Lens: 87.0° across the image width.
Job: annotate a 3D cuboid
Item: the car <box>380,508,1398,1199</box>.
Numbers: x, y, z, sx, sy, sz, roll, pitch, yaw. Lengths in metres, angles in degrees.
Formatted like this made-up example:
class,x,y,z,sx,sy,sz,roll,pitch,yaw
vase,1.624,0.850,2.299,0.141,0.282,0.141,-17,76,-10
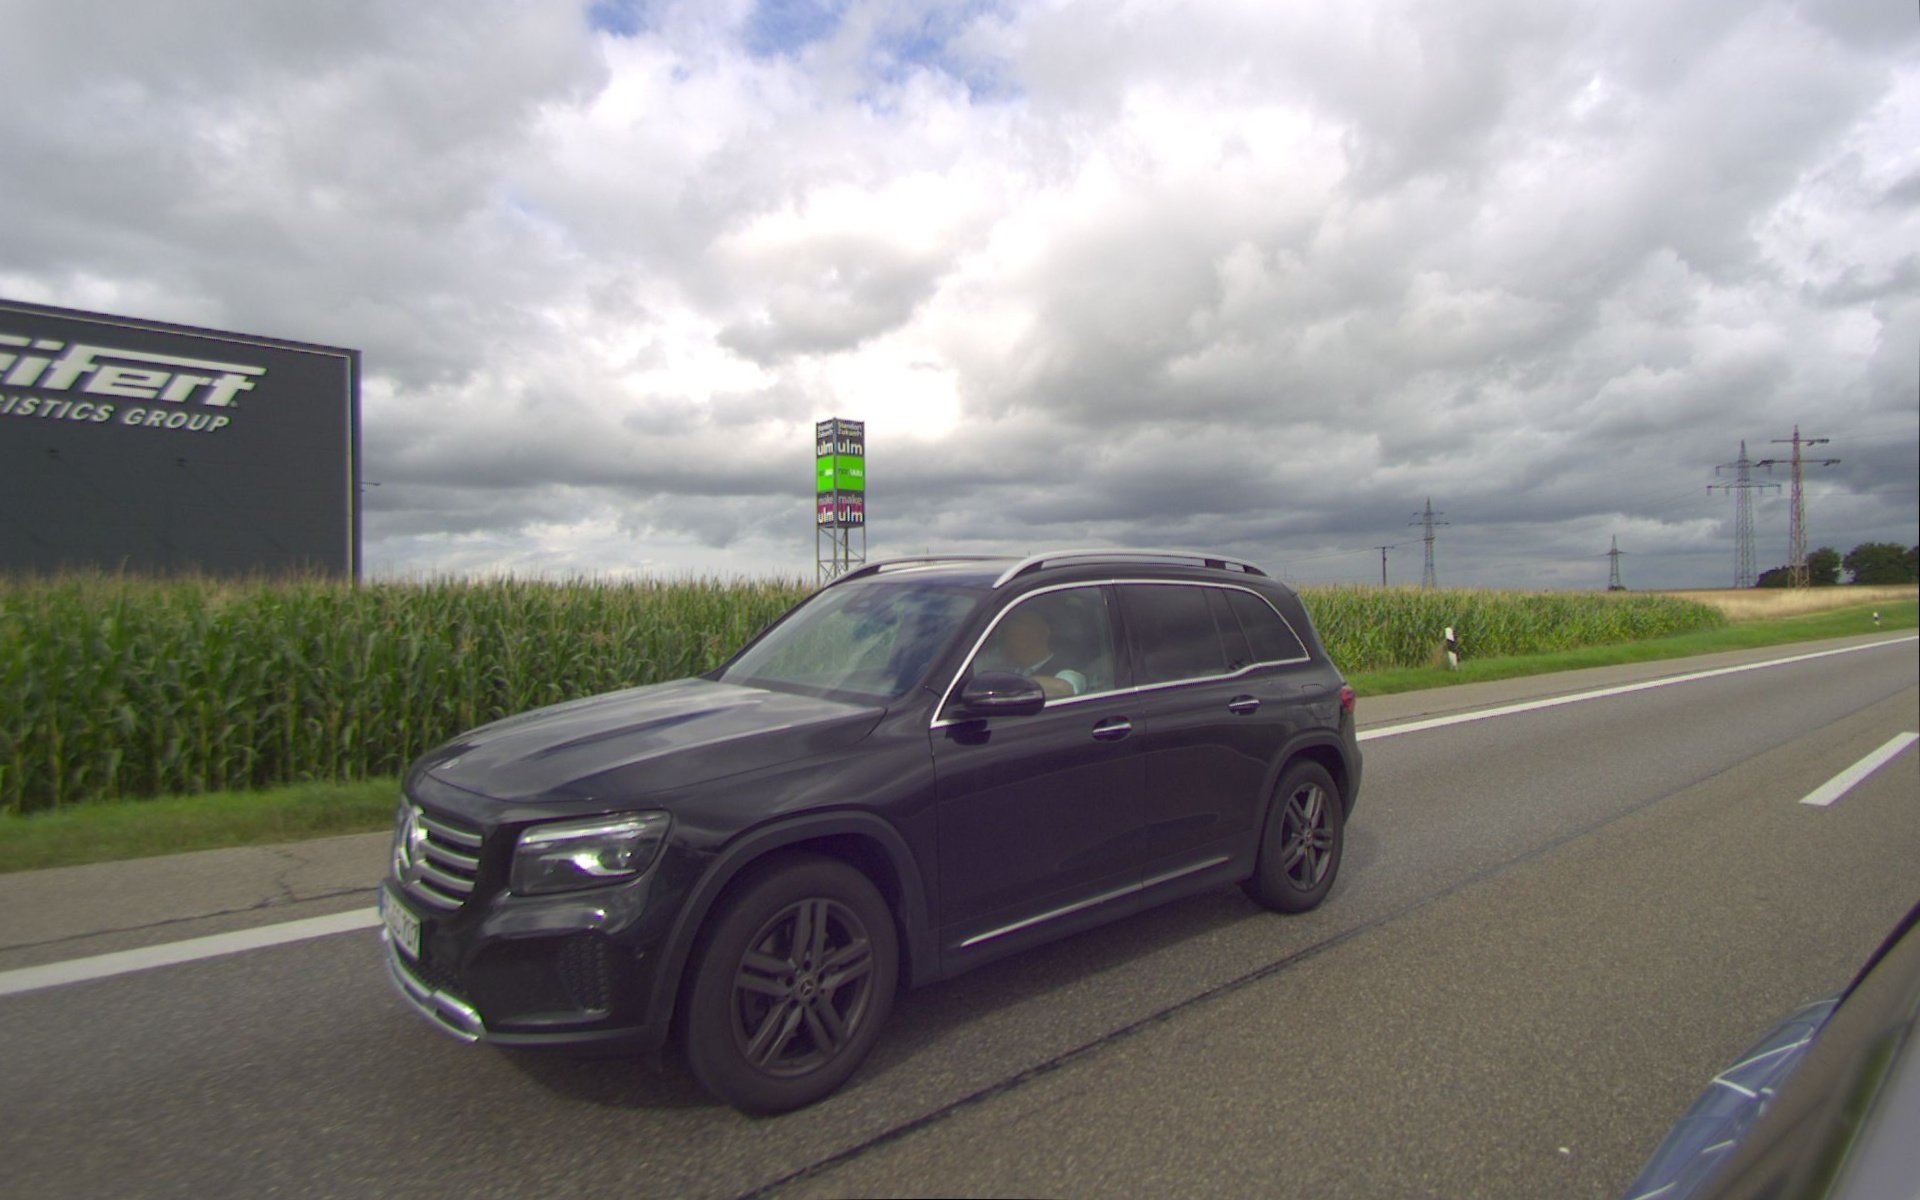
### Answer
class,x,y,z,sx,sy,sz,roll,pitch,yaw
car,0.042,0.566,4.486,4.284,1.629,1.836,-1,1,-41
